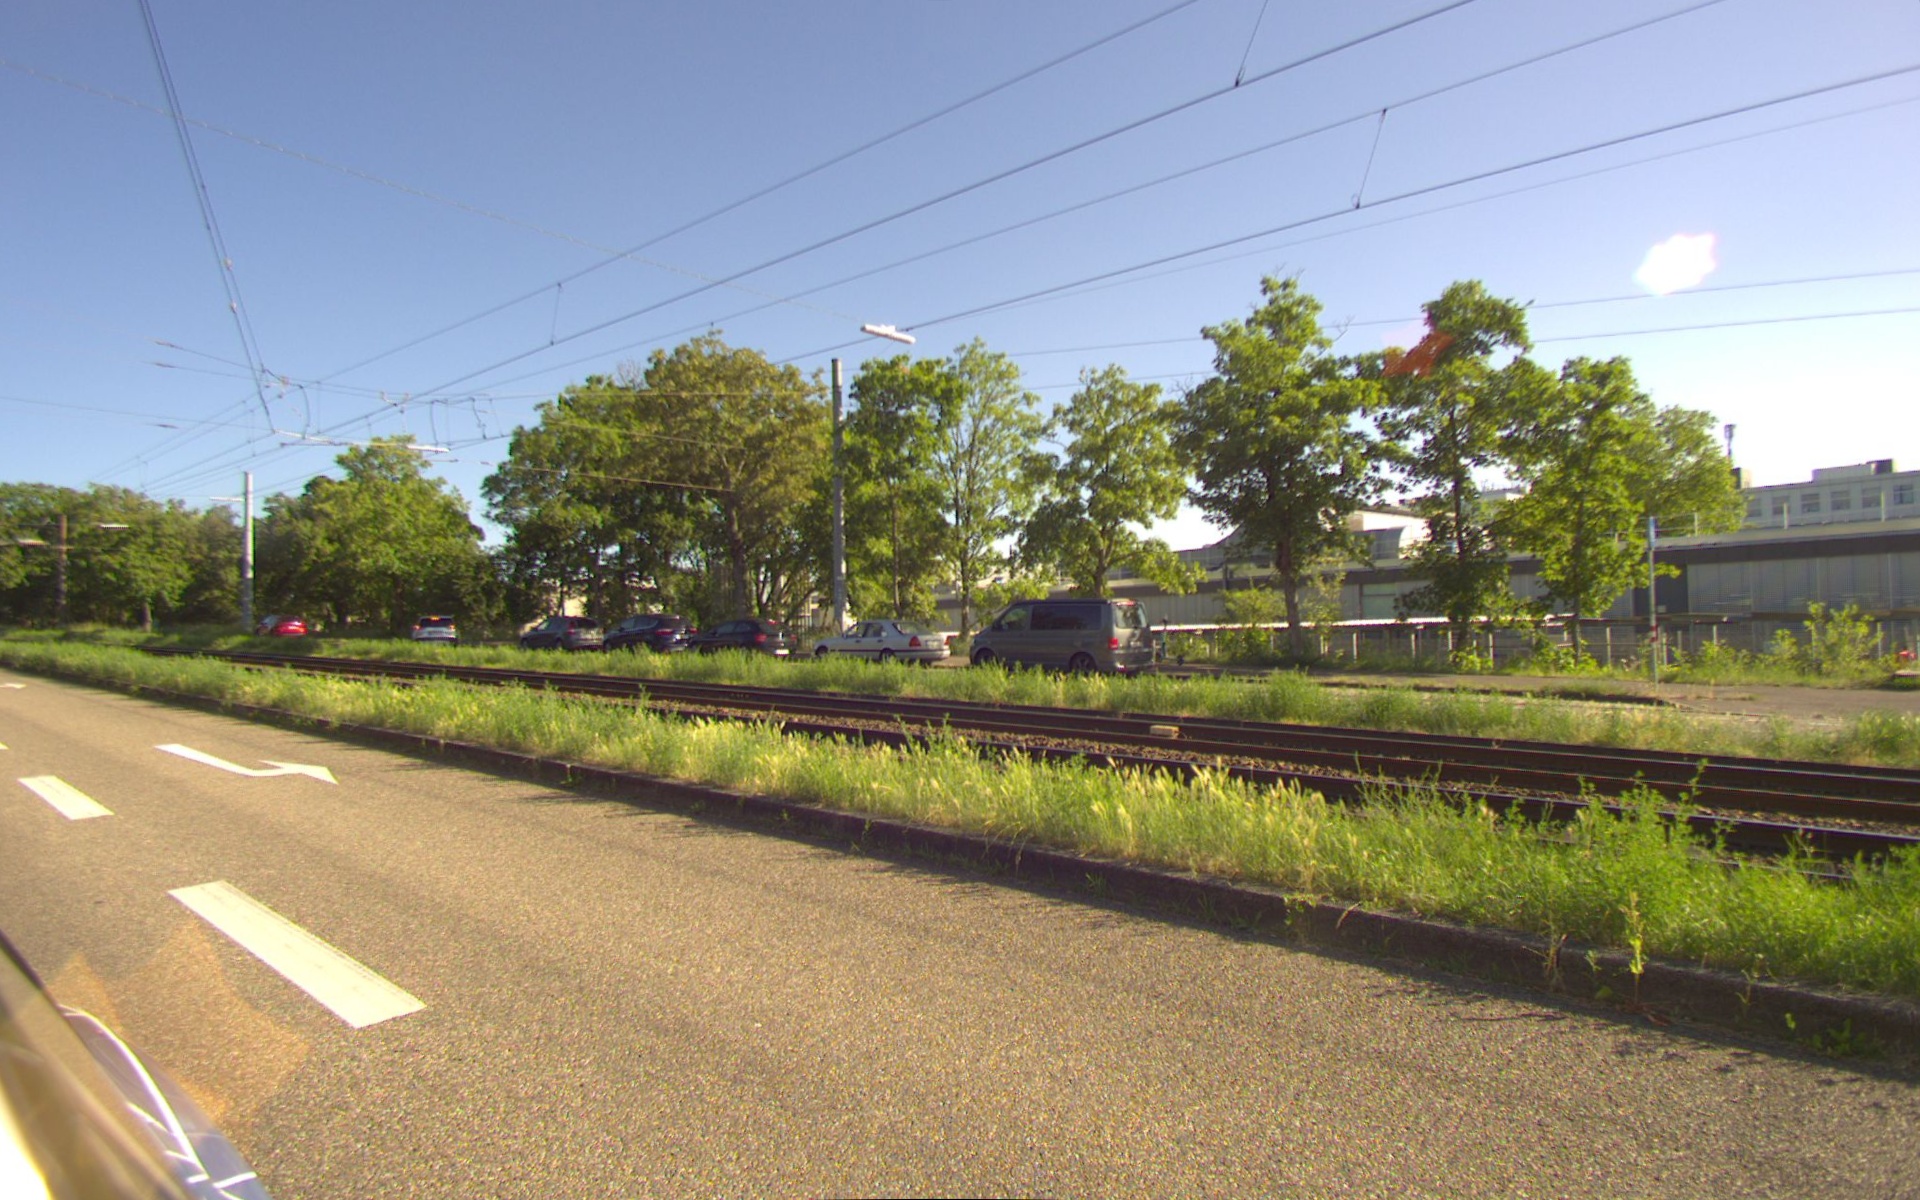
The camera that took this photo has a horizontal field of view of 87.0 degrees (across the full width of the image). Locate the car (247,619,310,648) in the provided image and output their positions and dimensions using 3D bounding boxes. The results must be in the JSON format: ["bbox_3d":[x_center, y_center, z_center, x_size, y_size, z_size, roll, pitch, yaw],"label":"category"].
[{"bbox_3d":[-42.453,2.081,62.991,4.797,1.746,2.290,-2,-1,43],"label":"car"}]

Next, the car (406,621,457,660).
[{"bbox_3d":[-22.676,1.695,43.531,1.829,1.569,4.170,-1,-1,-26],"label":"car"}]

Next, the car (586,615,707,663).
[{"bbox_3d":[-11.430,1.391,36.786,4.614,1.599,2.102,-2,-1,41],"label":"car"}]

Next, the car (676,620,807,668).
[{"bbox_3d":[-7.236,1.424,33.234,4.486,1.437,1.935,-2,-1,42],"label":"car"}]

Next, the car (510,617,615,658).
[{"bbox_3d":[-16.260,1.522,41.263,4.557,1.575,2.103,-2,-1,41],"label":"car"}]

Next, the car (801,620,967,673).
[{"bbox_3d":[-2.258,1.312,29.226,4.612,1.391,2.103,-2,-1,40],"label":"car"}]

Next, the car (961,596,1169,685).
[{"bbox_3d":[2.488,0.954,24.759,4.684,1.949,2.178,-2,-1,42],"label":"car"}]

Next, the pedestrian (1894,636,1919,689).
[{"bbox_3d":[23.539,1.538,25.018,0.435,1.310,0.441,-1,-2,-1],"label":"pedestrian"}]
